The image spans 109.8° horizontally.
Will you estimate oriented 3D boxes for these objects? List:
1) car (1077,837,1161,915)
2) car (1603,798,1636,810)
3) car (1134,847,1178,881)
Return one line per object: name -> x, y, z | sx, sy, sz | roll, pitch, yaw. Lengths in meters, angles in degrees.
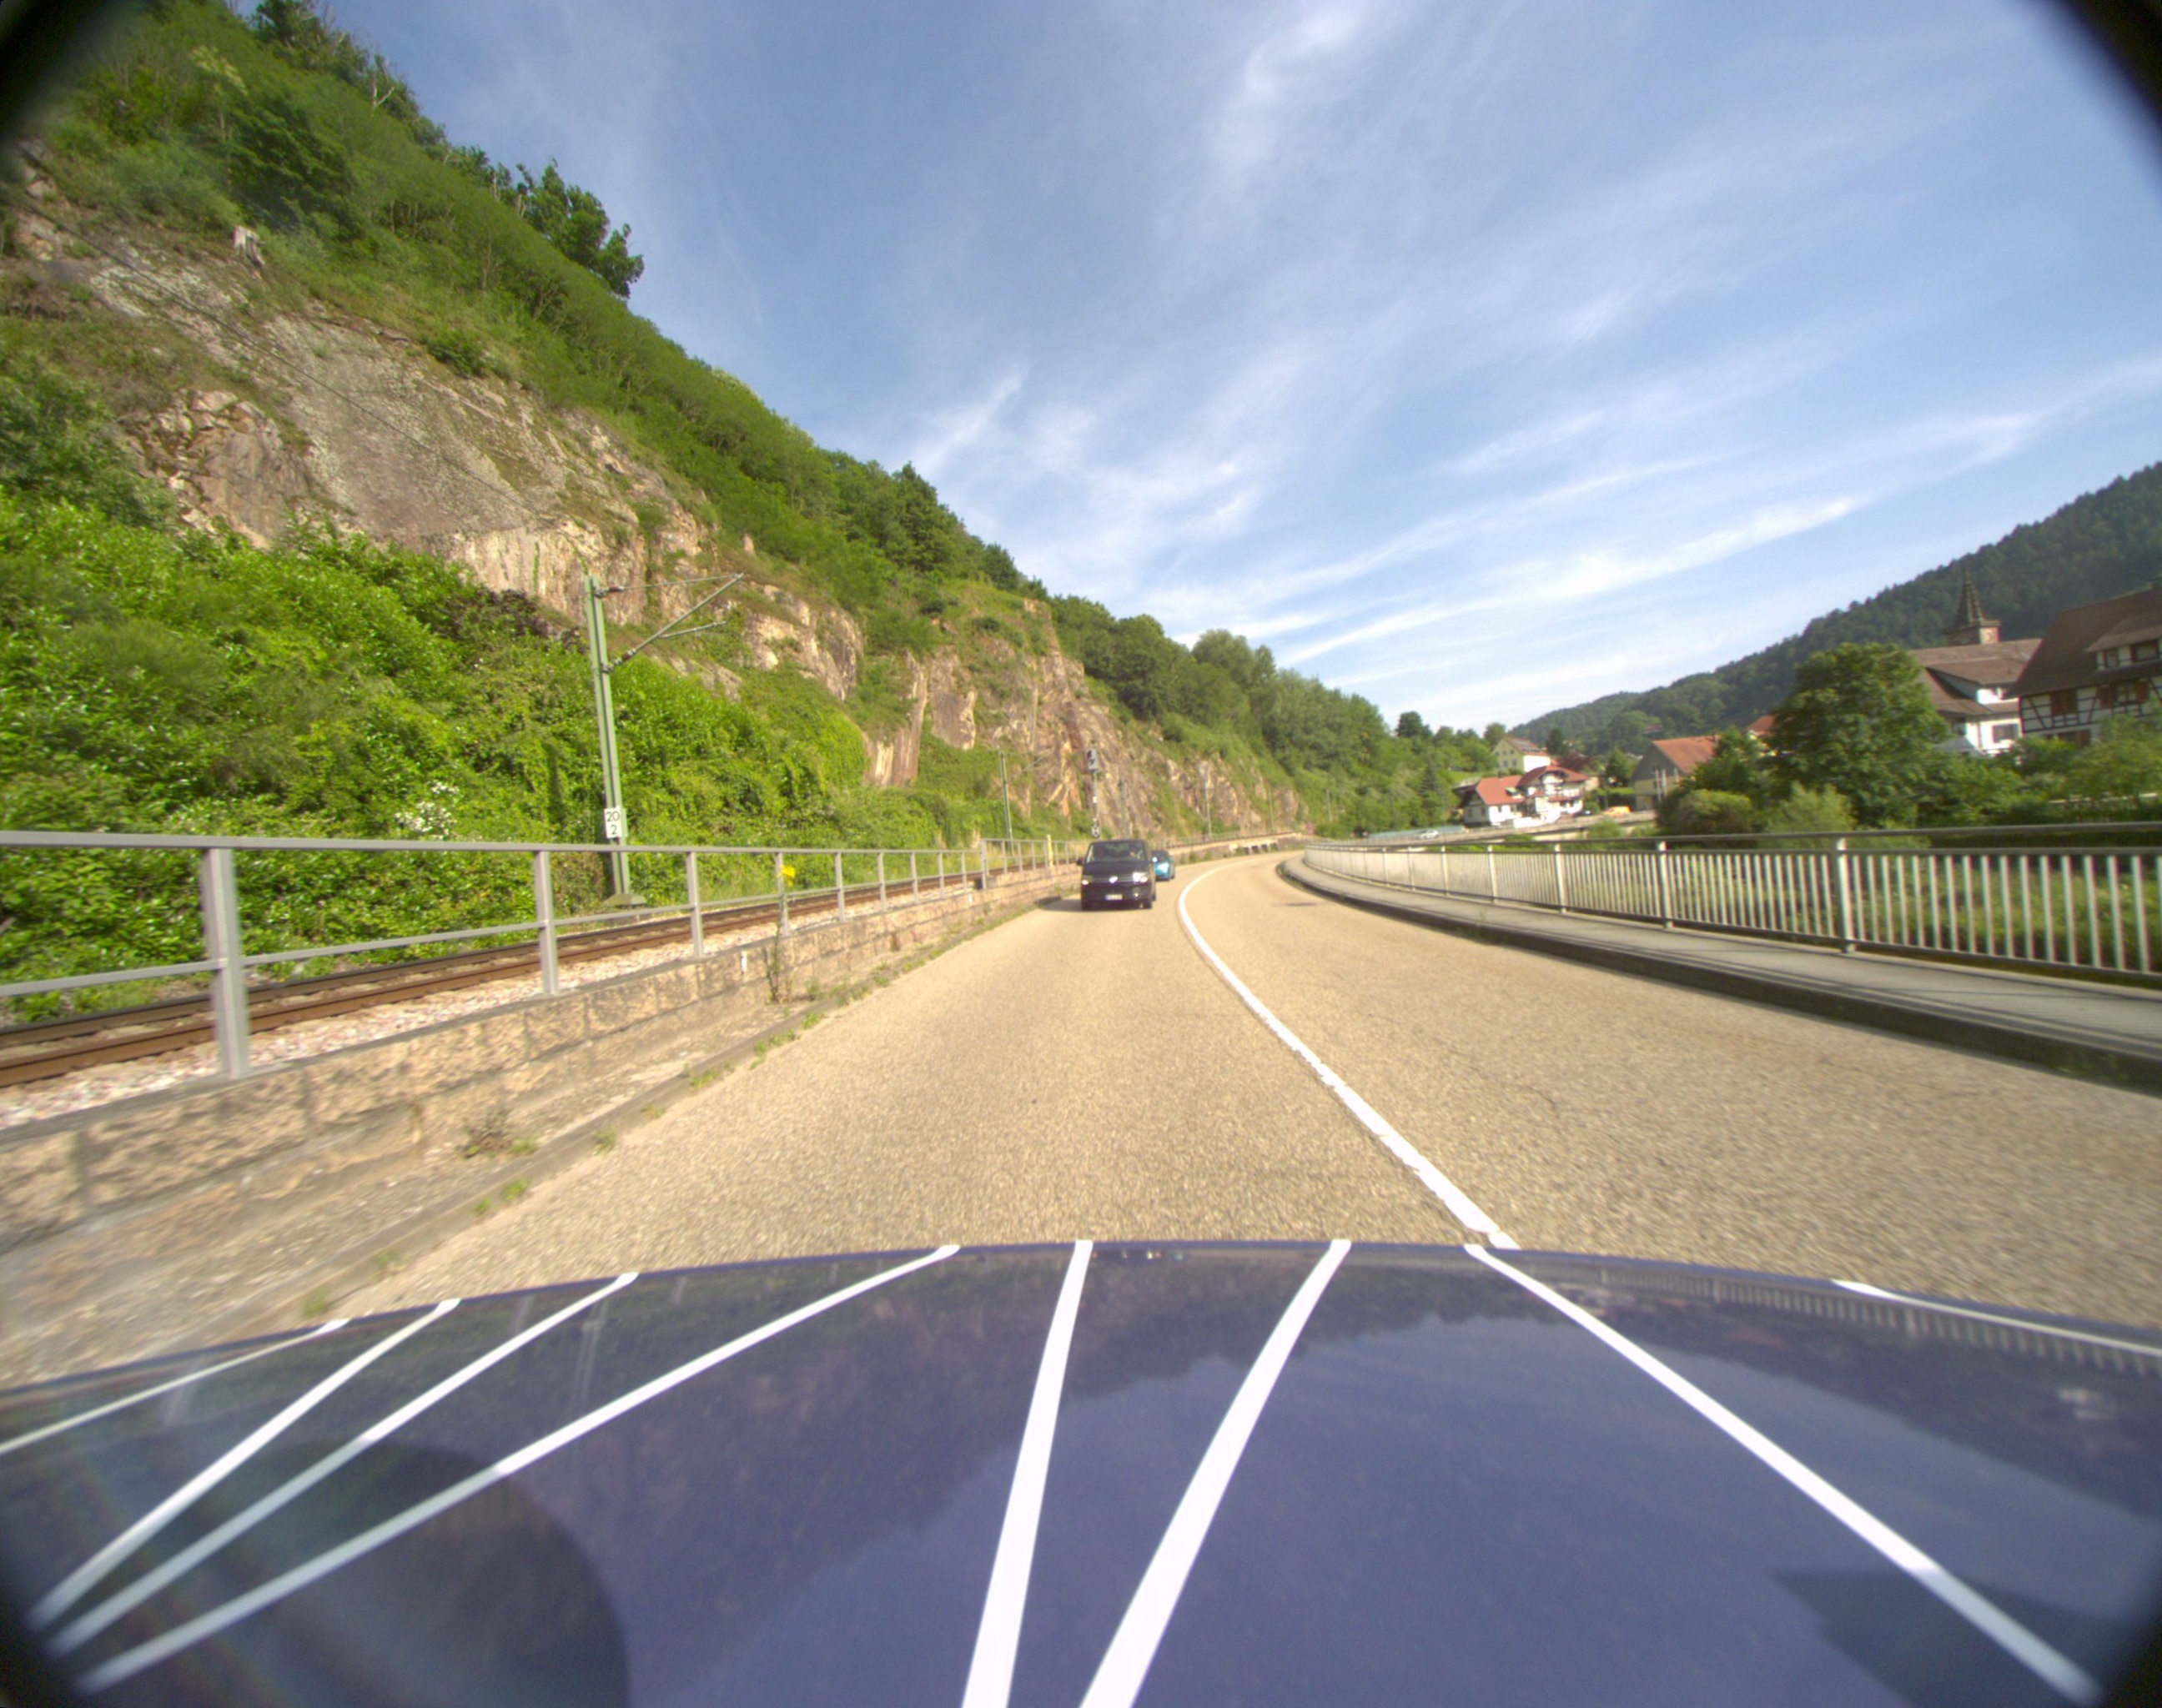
car -> 1.222, 0.543, 21.989 | 1.886, 1.952, 4.868 | -2, 0, 8
car -> 98.556, -9.167, 139.109 | 4.832, 1.986, 1.914 | -1, 2, -2
car -> 3.815, 0.468, 38.114 | 1.681, 1.513, 3.868 | -4, 0, 12
